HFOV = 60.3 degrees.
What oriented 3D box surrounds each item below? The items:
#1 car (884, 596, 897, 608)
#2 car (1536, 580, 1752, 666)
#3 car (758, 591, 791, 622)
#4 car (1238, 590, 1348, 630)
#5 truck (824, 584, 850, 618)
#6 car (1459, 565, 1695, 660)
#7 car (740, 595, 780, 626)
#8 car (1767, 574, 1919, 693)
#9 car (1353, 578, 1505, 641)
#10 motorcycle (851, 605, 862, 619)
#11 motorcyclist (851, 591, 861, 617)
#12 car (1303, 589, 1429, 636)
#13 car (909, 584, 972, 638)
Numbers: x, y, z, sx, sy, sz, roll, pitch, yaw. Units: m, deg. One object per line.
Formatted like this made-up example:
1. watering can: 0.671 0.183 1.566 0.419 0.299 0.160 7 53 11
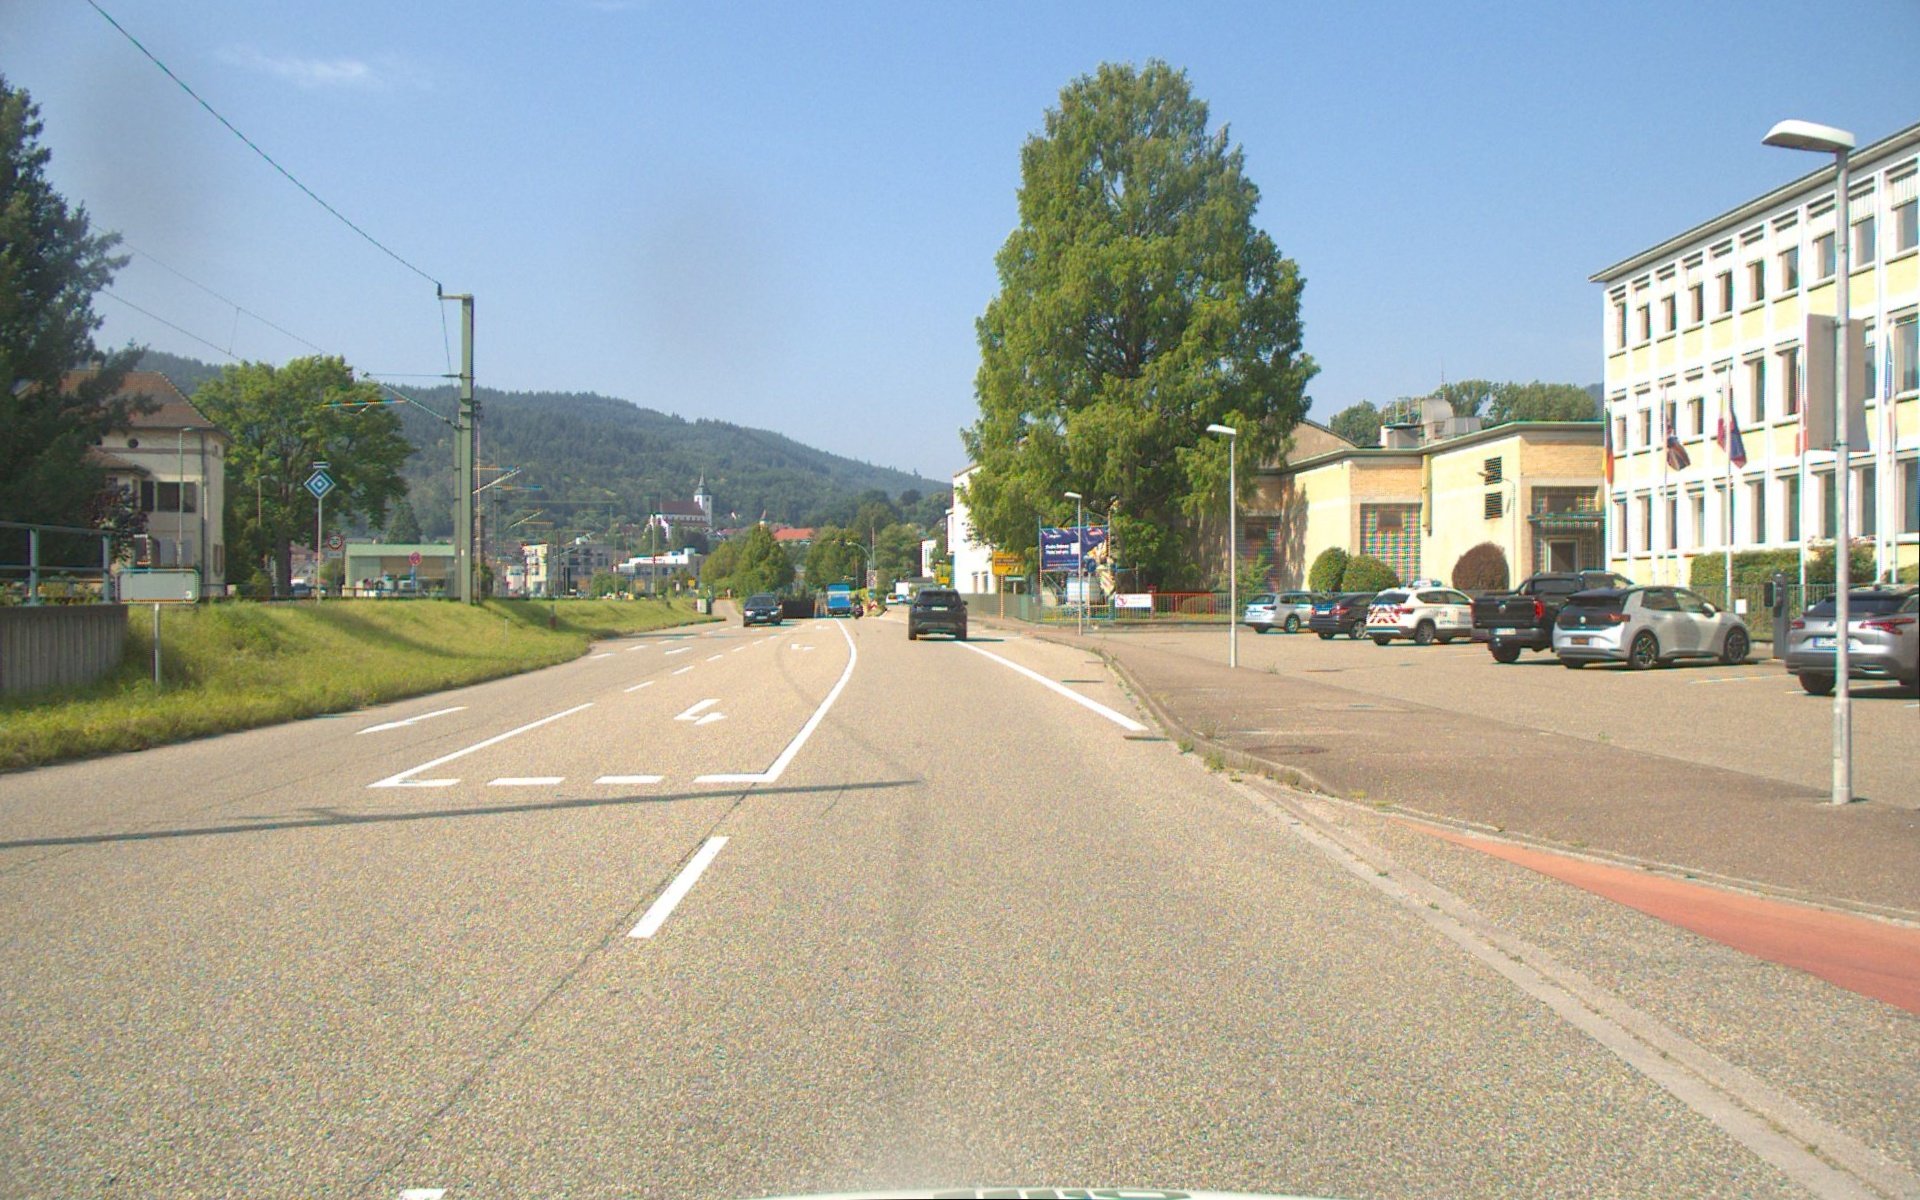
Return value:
1. car: -9.256 0.258 220.311 1.731 1.512 3.999 1 0 -1
2. car: 13.102 0.404 31.654 3.947 1.531 1.866 -1 0 -31
3. car: -10.411 0.356 93.021 1.721 1.668 3.996 0 0 -5
4. car: 12.143 0.340 60.241 3.951 1.425 1.645 0 0 -34
5. truck: -11.170 0.062 149.669 2.267 3.022 5.960 0 1 -5
6. car: 12.879 0.217 34.429 4.969 1.864 1.962 -1 0 -31
7. car: -9.513 0.476 78.761 1.721 1.454 3.996 0 0 -5
8. car: 13.497 0.413 23.287 4.254 1.531 1.866 -1 0 -31
9. car: 13.138 0.249 46.264 4.119 1.701 1.849 0 0 -32
10. motorcycle: -6.152 0.712 98.547 0.594 0.766 1.414 0 0 -3
11. motorcyclist: -6.187 0.254 98.550 0.594 1.547 0.863 0 0 -3
12. car: 12.807 0.382 52.115 3.951 1.425 1.645 0 0 -34
13. car: -0.667 0.318 53.373 1.881 1.668 3.997 0 0 -3
